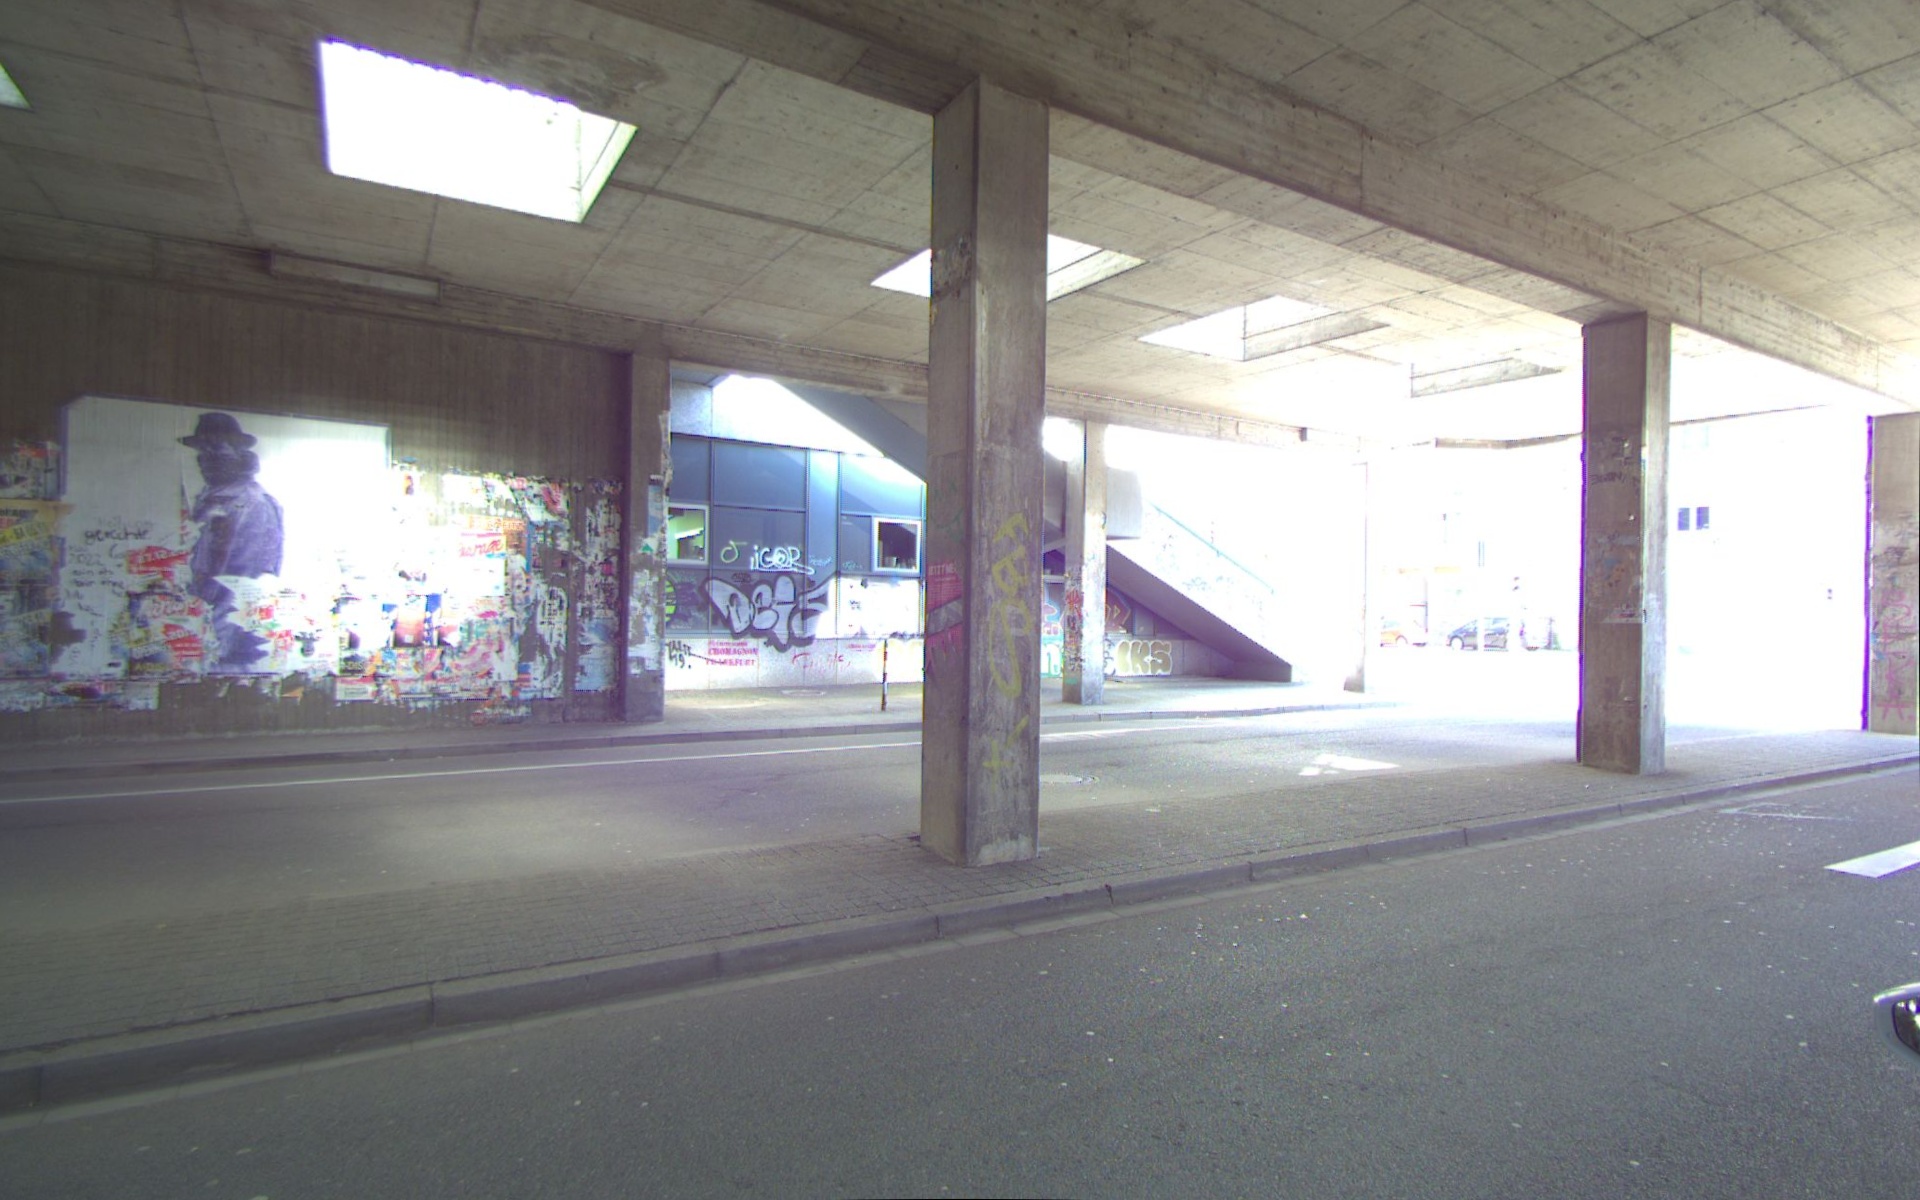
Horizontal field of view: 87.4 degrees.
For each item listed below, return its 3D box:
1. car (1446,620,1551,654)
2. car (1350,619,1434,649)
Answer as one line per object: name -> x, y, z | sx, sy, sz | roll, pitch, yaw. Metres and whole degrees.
car -> 25.472, 1.738, 47.650 | 1.718, 1.495, 4.089 | 2, -1, -31
car -> 22.561, 1.761, 52.605 | 1.730, 1.495, 3.741 | 2, -1, -31
